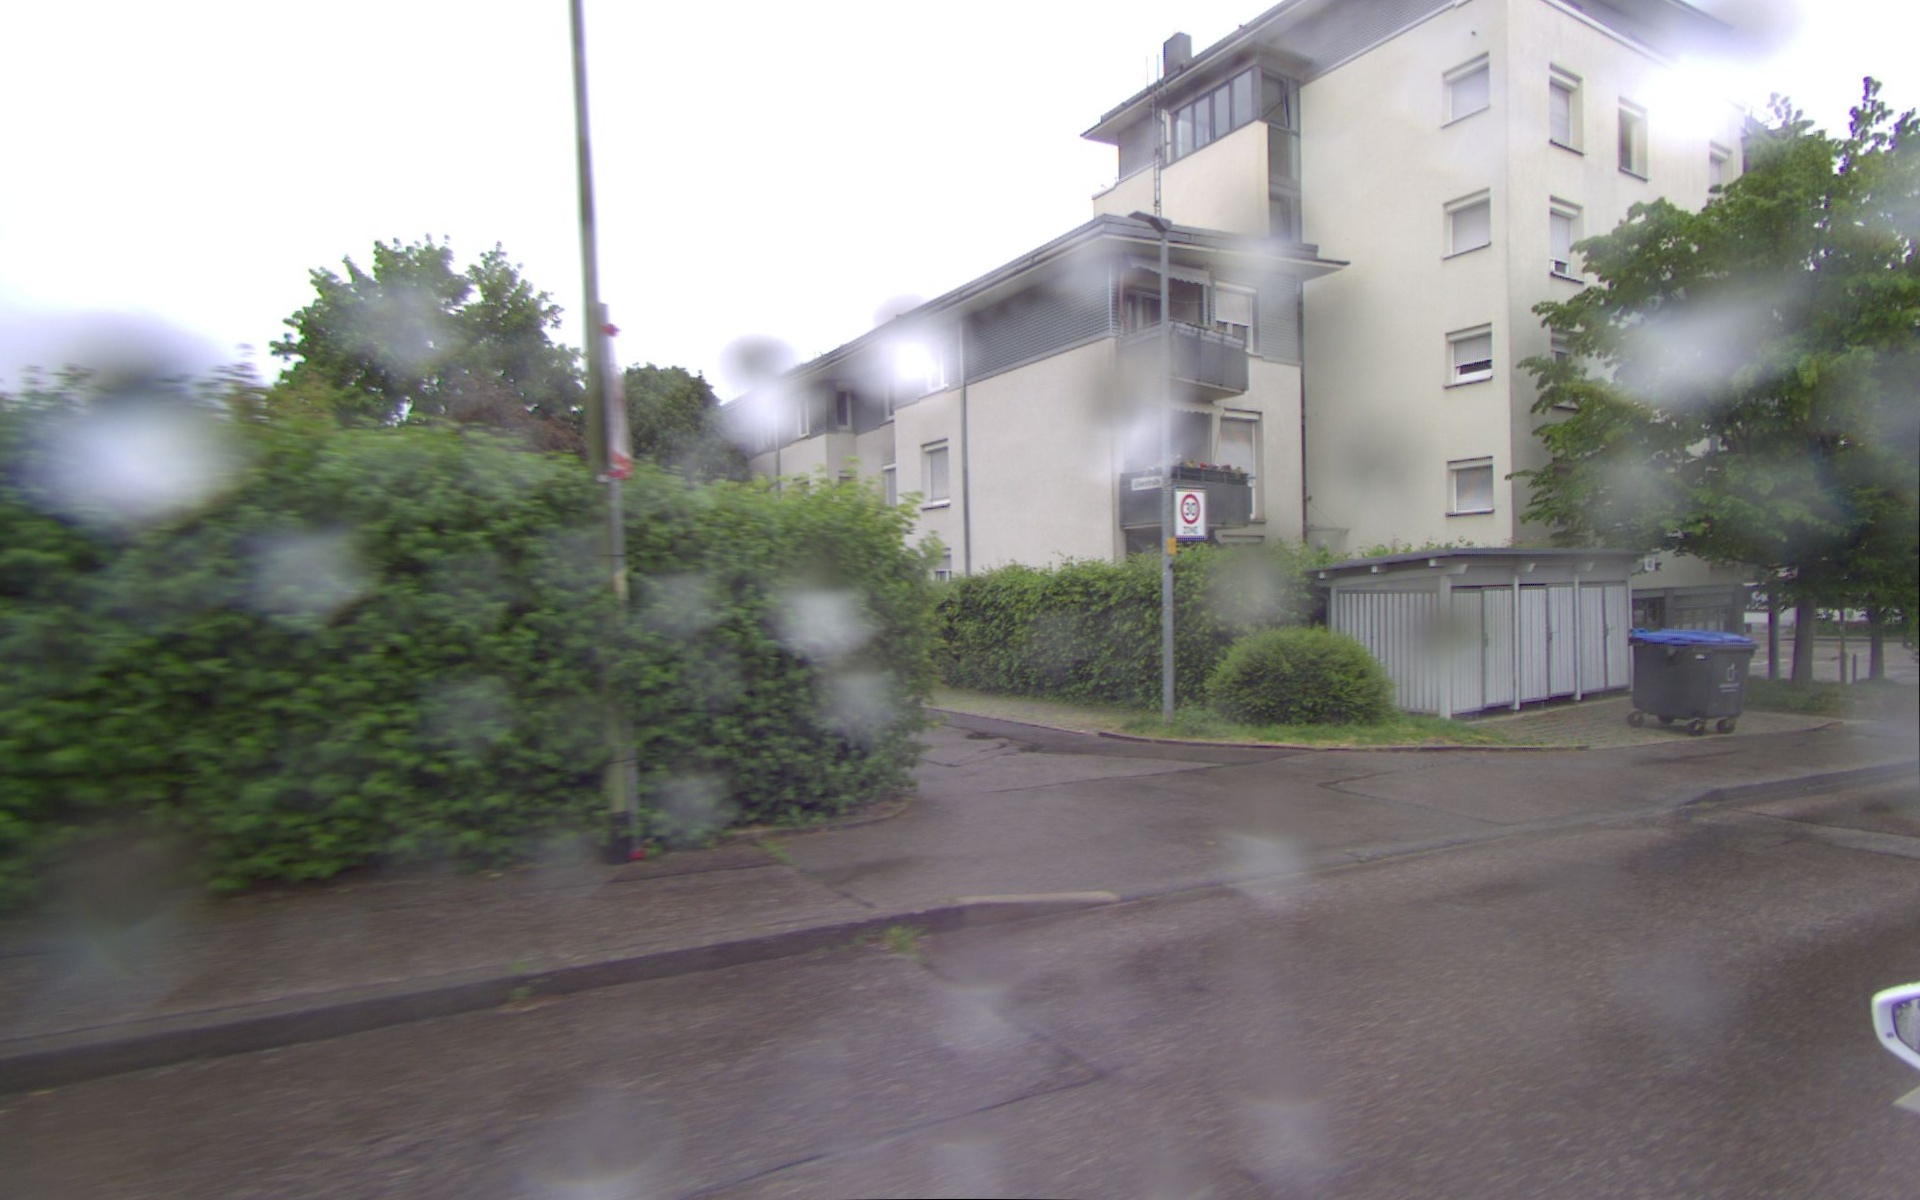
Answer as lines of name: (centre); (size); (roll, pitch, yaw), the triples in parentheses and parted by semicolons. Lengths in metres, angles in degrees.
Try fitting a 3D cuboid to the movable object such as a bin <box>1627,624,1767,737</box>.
movable object such as a bin: (9.799, 1.031, 13.362); (1.304, 1.365, 1.065); (1, 1, -32)
